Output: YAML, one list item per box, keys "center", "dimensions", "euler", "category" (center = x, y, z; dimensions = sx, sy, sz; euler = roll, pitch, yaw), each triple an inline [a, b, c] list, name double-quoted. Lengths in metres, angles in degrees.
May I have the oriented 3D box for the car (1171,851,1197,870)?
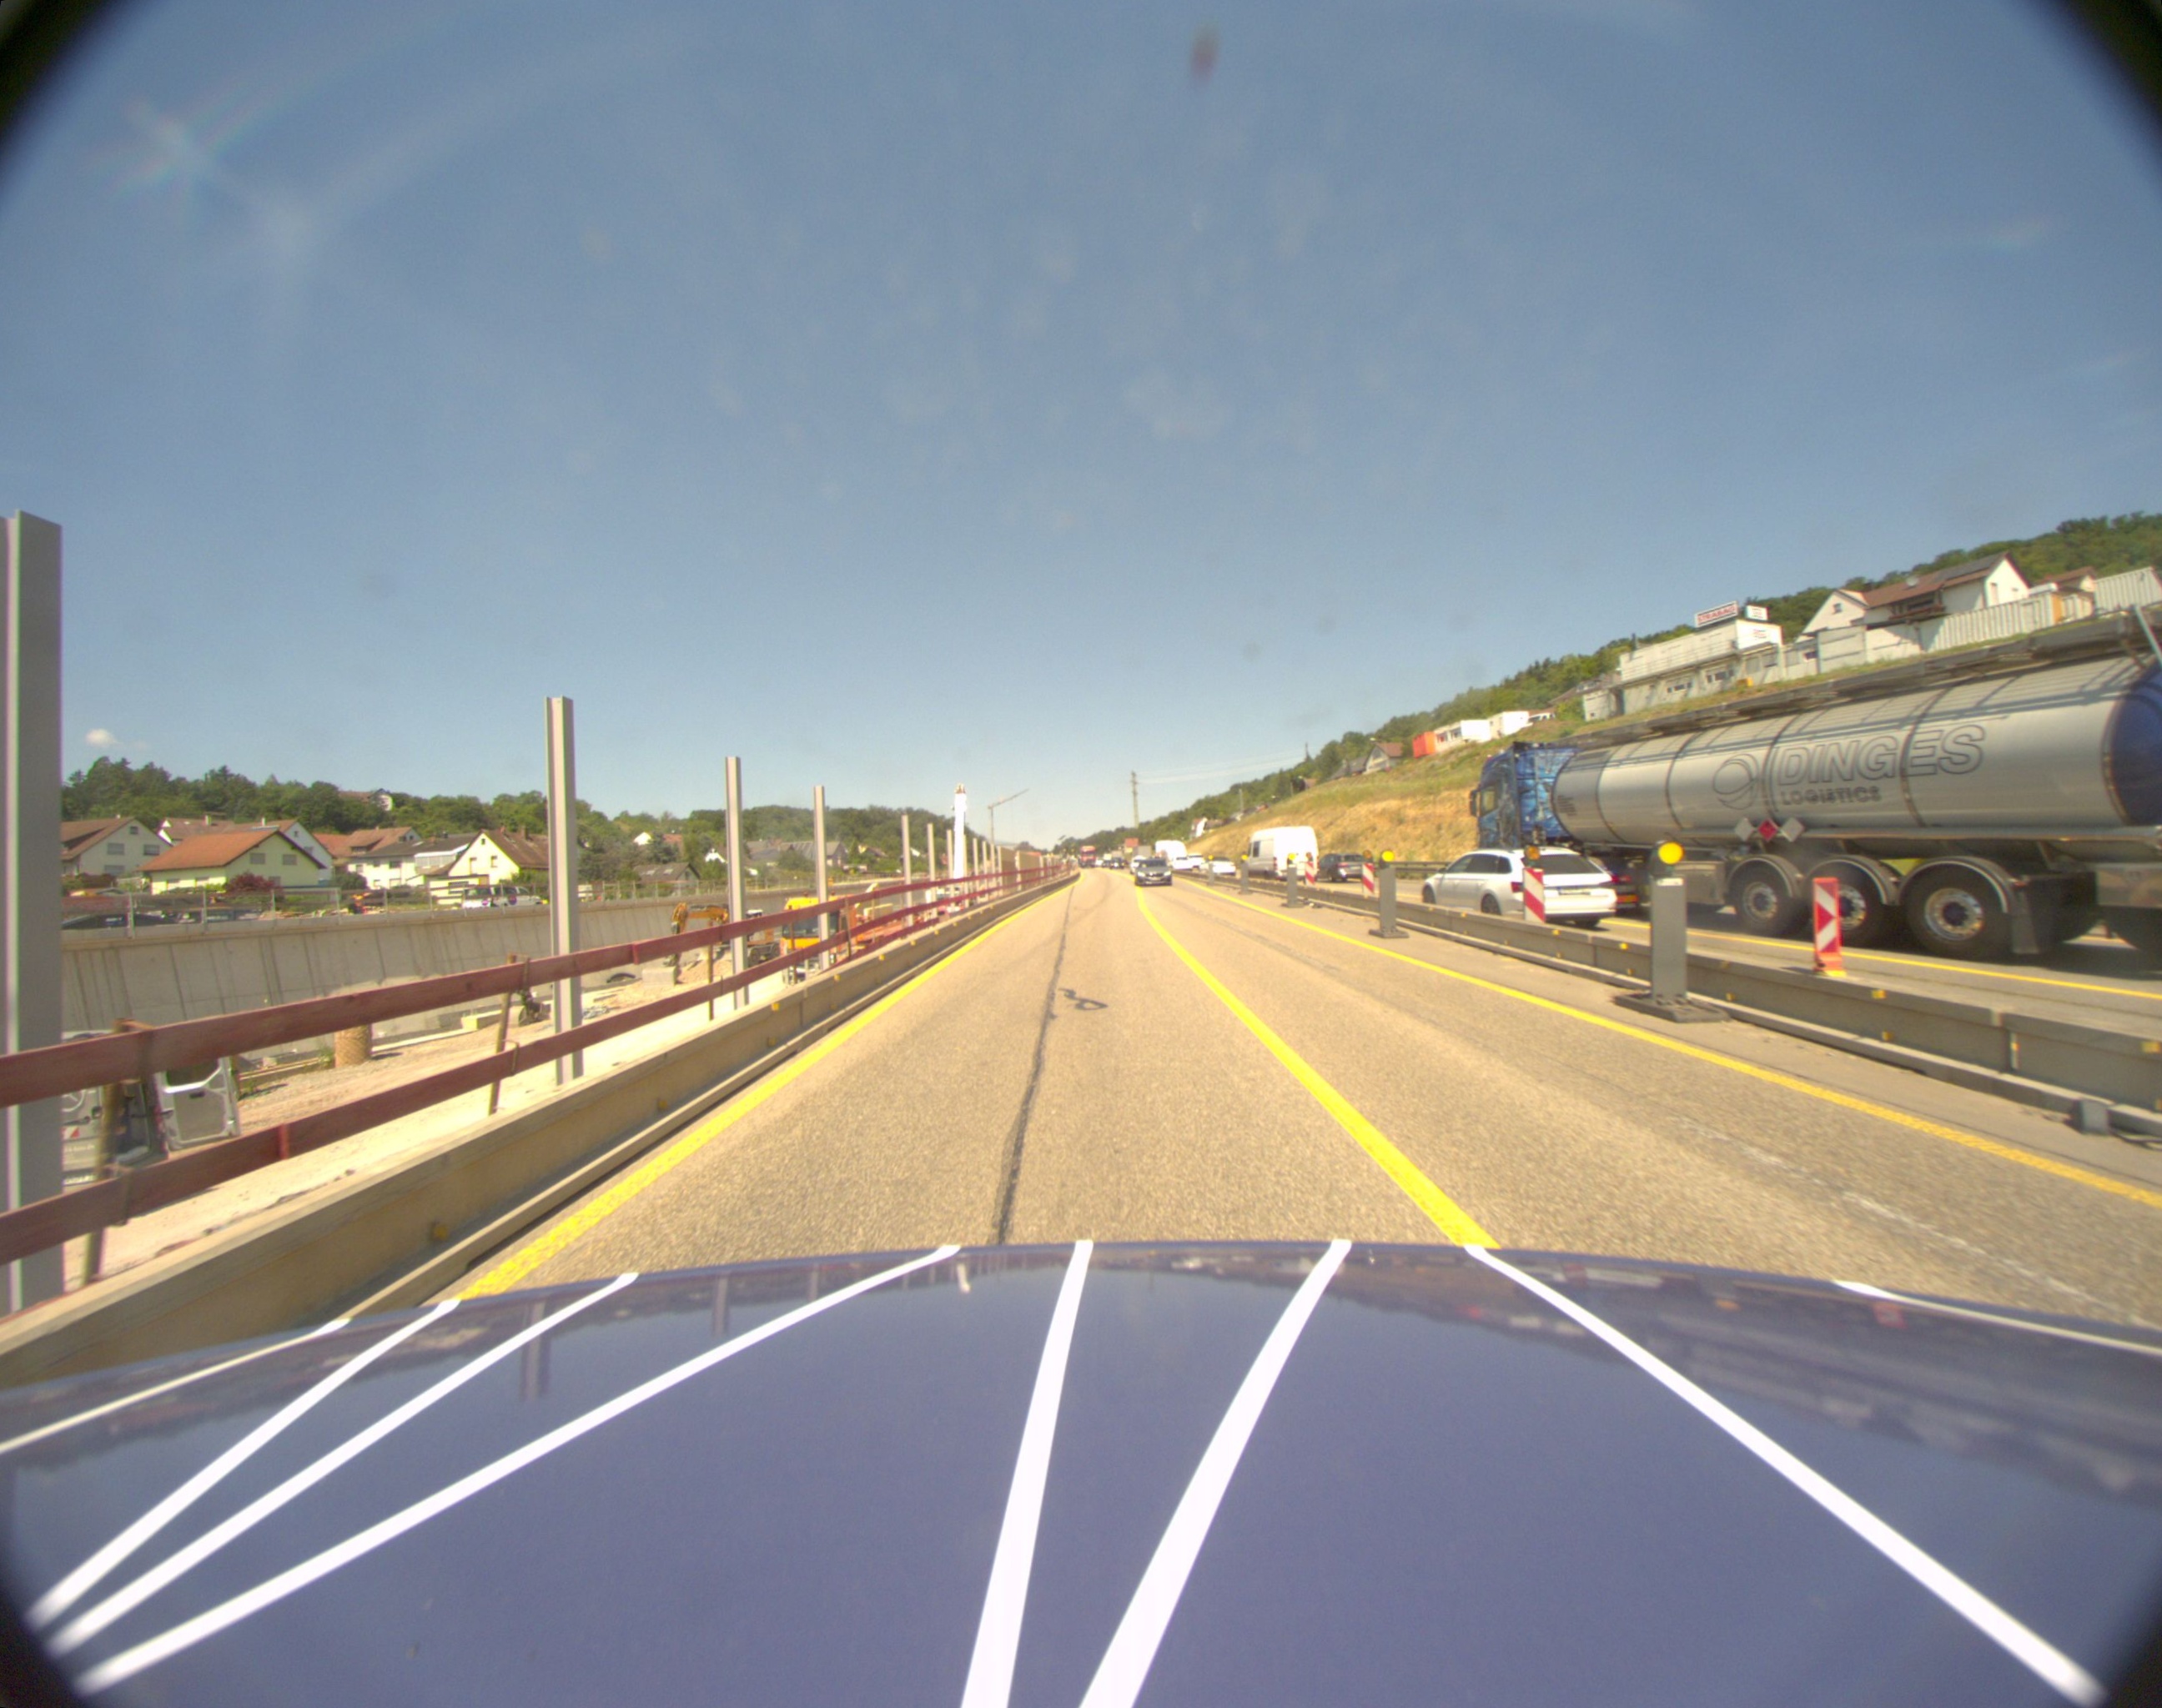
- center: [9.521, 0.617, 70.534]
  dimensions: [1.838, 1.626, 4.389]
  euler: [-2, 0, 0]
  category: "car"

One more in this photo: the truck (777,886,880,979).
- center: [-10.841, 3.272, 33.189]
  dimensions: [2.504, 3.385, 5.436]
  euler: [-2, 1, 1]
  category: "truck"

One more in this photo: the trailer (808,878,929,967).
- center: [-10.734, 3.249, 40.182]
  dimensions: [2.446, 3.333, 12.893]
  euler: [-2, 1, 1]
  category: "trailer"

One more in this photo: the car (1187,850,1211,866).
- center: [12.737, 0.385, 82.317]
  dimensions: [1.838, 1.626, 4.389]
  euler: [-2, 0, 0]
  category: "car"

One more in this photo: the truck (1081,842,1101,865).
- center: [1.907, -0.168, 140.893]
  dimensions: [3.463, 4.023, 10.210]
  euler: [-2, 1, 1]
  category: "truck"

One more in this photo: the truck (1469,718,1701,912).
- center: [11.718, -0.834, 18.198]
  dimensions: [2.588, 3.954, 4.589]
  euler: [-2, 1, 3]
  category: "truck"

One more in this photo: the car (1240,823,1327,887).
- center: [9.274, 0.038, 35.565]
  dimensions: [2.211, 2.614, 6.627]
  euler: [-2, 0, 0]
  category: "car"

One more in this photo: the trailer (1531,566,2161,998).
- center: [11.291, -0.738, 11.752]
  dimensions: [2.605, 3.848, 11.275]
  euler: [-2, 1, 4]
  category: "trailer"

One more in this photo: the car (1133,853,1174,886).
- center: [3.747, 0.778, 39.889]
  dimensions: [1.838, 1.587, 4.390]
  euler: [-2, 0, 2]
  category: "car"

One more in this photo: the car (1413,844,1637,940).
- center: [8.282, 0.624, 14.797]
  dimensions: [1.837, 1.510, 4.845]
  euler: [-2, 0, 5]
  category: "car"

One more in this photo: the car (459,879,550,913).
- center: [-33.134, 2.381, 43.837]
  dimensions: [1.658, 1.594, 4.606]
  euler: [-2, 1, 0]
  category: "car"

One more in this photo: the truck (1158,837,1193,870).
- center: [12.523, -0.123, 102.065]
  dimensions: [3.115, 4.023, 13.156]
  euler: [-2, 1, 1]
  category: "truck"

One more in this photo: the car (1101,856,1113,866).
- center: [4.412, 1.199, 128.175]
  dimensions: [1.801, 1.542, 4.000]
  euler: [-2, -1, -2]
  category: "car"

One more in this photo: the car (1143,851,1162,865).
- center: [8.782, 0.496, 93.774]
  dimensions: [1.838, 1.626, 4.389]
  euler: [-2, 0, 0]
  category: "car"

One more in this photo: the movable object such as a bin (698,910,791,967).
- center: [-19.440, 4.836, 44.126]
  dimensions: [3.266, 2.769, 4.001]
  euler: [-2, 1, 6]
  category: "movable object such as a bin"

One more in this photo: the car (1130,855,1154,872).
- center: [5.490, 0.817, 68.756]
  dimensions: [1.838, 1.465, 4.390]
  euler: [-2, 0, 2]
  category: "car"

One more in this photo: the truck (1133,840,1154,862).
- center: [12.004, -0.569, 146.672]
  dimensions: [3.148, 4.023, 10.210]
  euler: [-2, 1, 1]
  category: "truck"

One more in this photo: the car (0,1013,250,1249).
- center: [-16.256, 4.062, 10.469]
  dimensions: [6.308, 2.565, 2.053]
  euler: [-5, -1, -13]
  category: "car"

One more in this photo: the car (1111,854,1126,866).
- center: [5.141, 0.800, 104.757]
  dimensions: [1.801, 1.542, 4.000]
  euler: [-2, -1, -2]
  category: "car"

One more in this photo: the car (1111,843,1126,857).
- center: [8.578, -0.891, 173.591]
  dimensions: [2.926, 2.863, 6.696]
  euler: [-2, 0, 0]
  category: "car"

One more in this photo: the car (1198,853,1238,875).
- center: [9.054, 0.642, 50.466]
  dimensions: [1.838, 1.368, 4.389]
  euler: [-2, 0, 0]
  category: "car"

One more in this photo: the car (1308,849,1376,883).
- center: [12.743, 0.555, 37.320]
  dimensions: [1.838, 1.482, 4.389]
  euler: [-2, 0, 1]
  category: "car"
